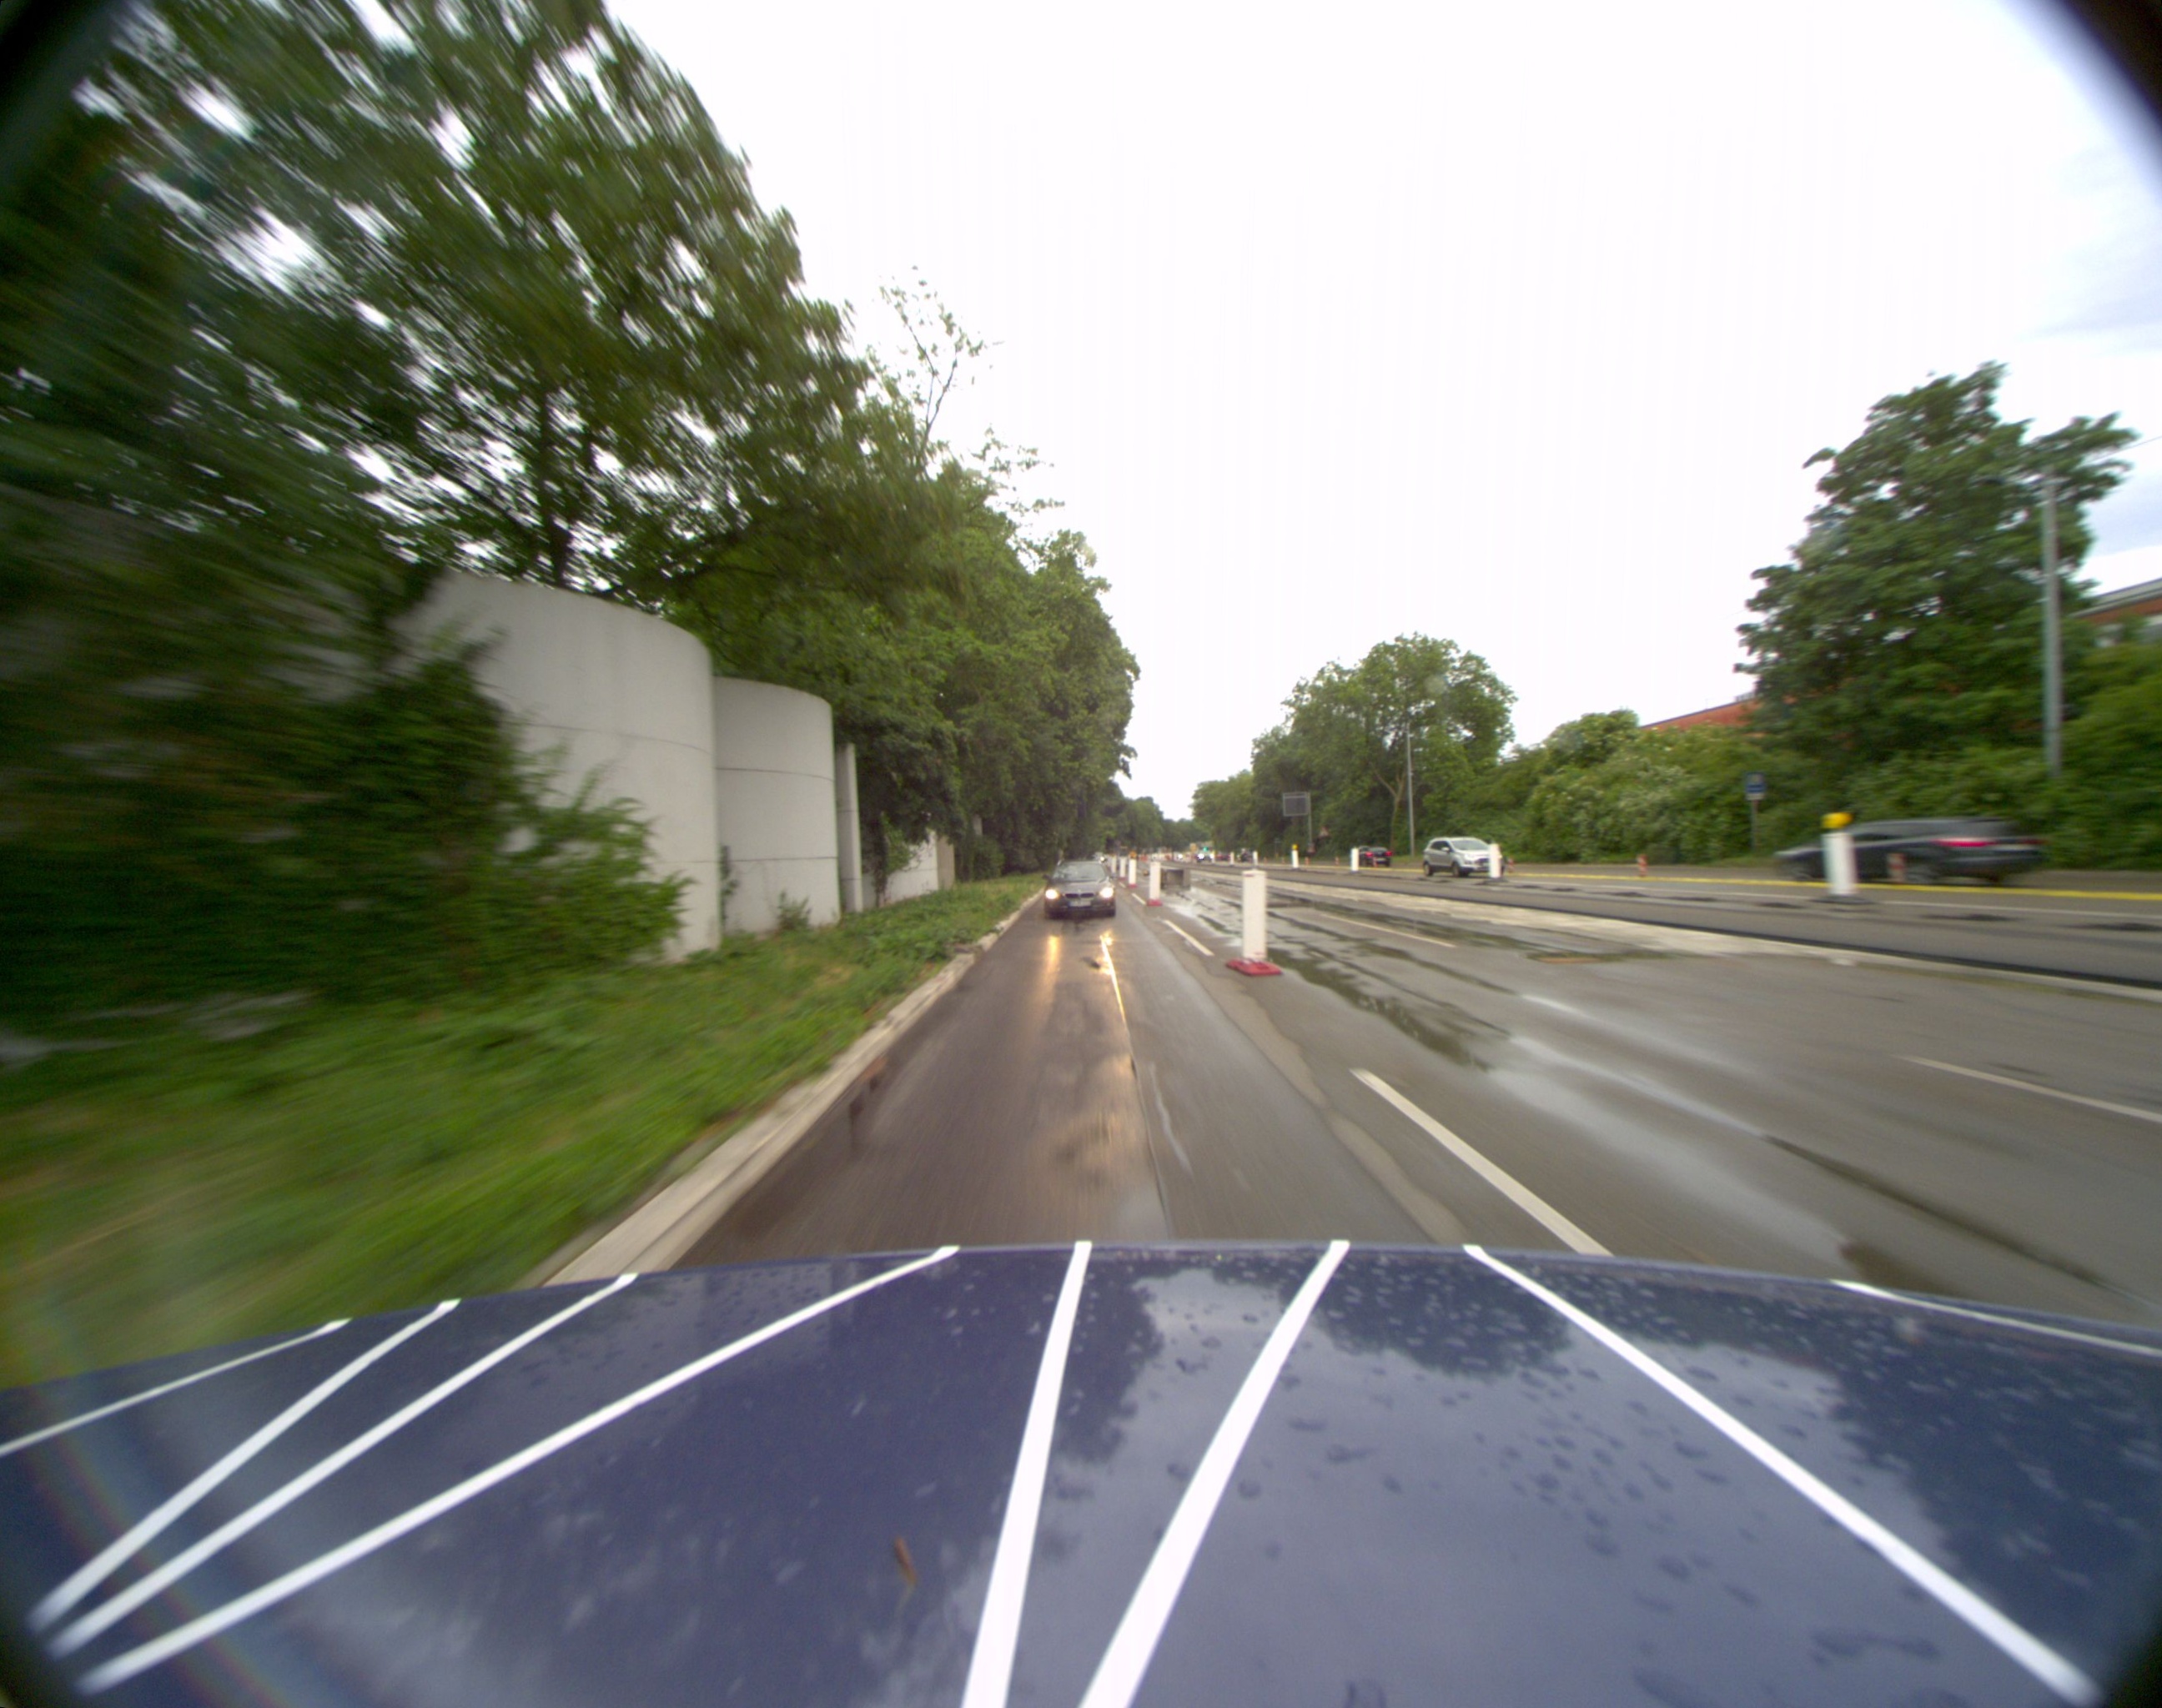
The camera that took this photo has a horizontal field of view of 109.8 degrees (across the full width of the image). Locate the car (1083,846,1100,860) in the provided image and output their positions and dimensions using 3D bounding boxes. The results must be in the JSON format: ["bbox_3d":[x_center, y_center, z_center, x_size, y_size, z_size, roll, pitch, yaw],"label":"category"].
[{"bbox_3d":[1.428,-0.139,99.966,1.998,1.707,4.000,-2,1,3],"label":"car"}]

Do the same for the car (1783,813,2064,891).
[{"bbox_3d":[18.424,-0.050,16.961,1.691,1.434,4.107,-3,0,1],"label":"car"}]

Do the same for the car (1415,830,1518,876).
[{"bbox_3d":[15.292,-0.047,30.423,1.893,1.555,4.364,-4,0,1],"label":"car"}]

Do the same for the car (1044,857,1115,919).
[{"bbox_3d":[-0.001,0.829,20.246,1.658,1.409,4.129,-2,0,1],"label":"car"}]

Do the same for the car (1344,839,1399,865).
[{"bbox_3d":[19.223,-0.136,50.432,1.893,1.543,4.398,-4,0,1],"label":"car"}]
